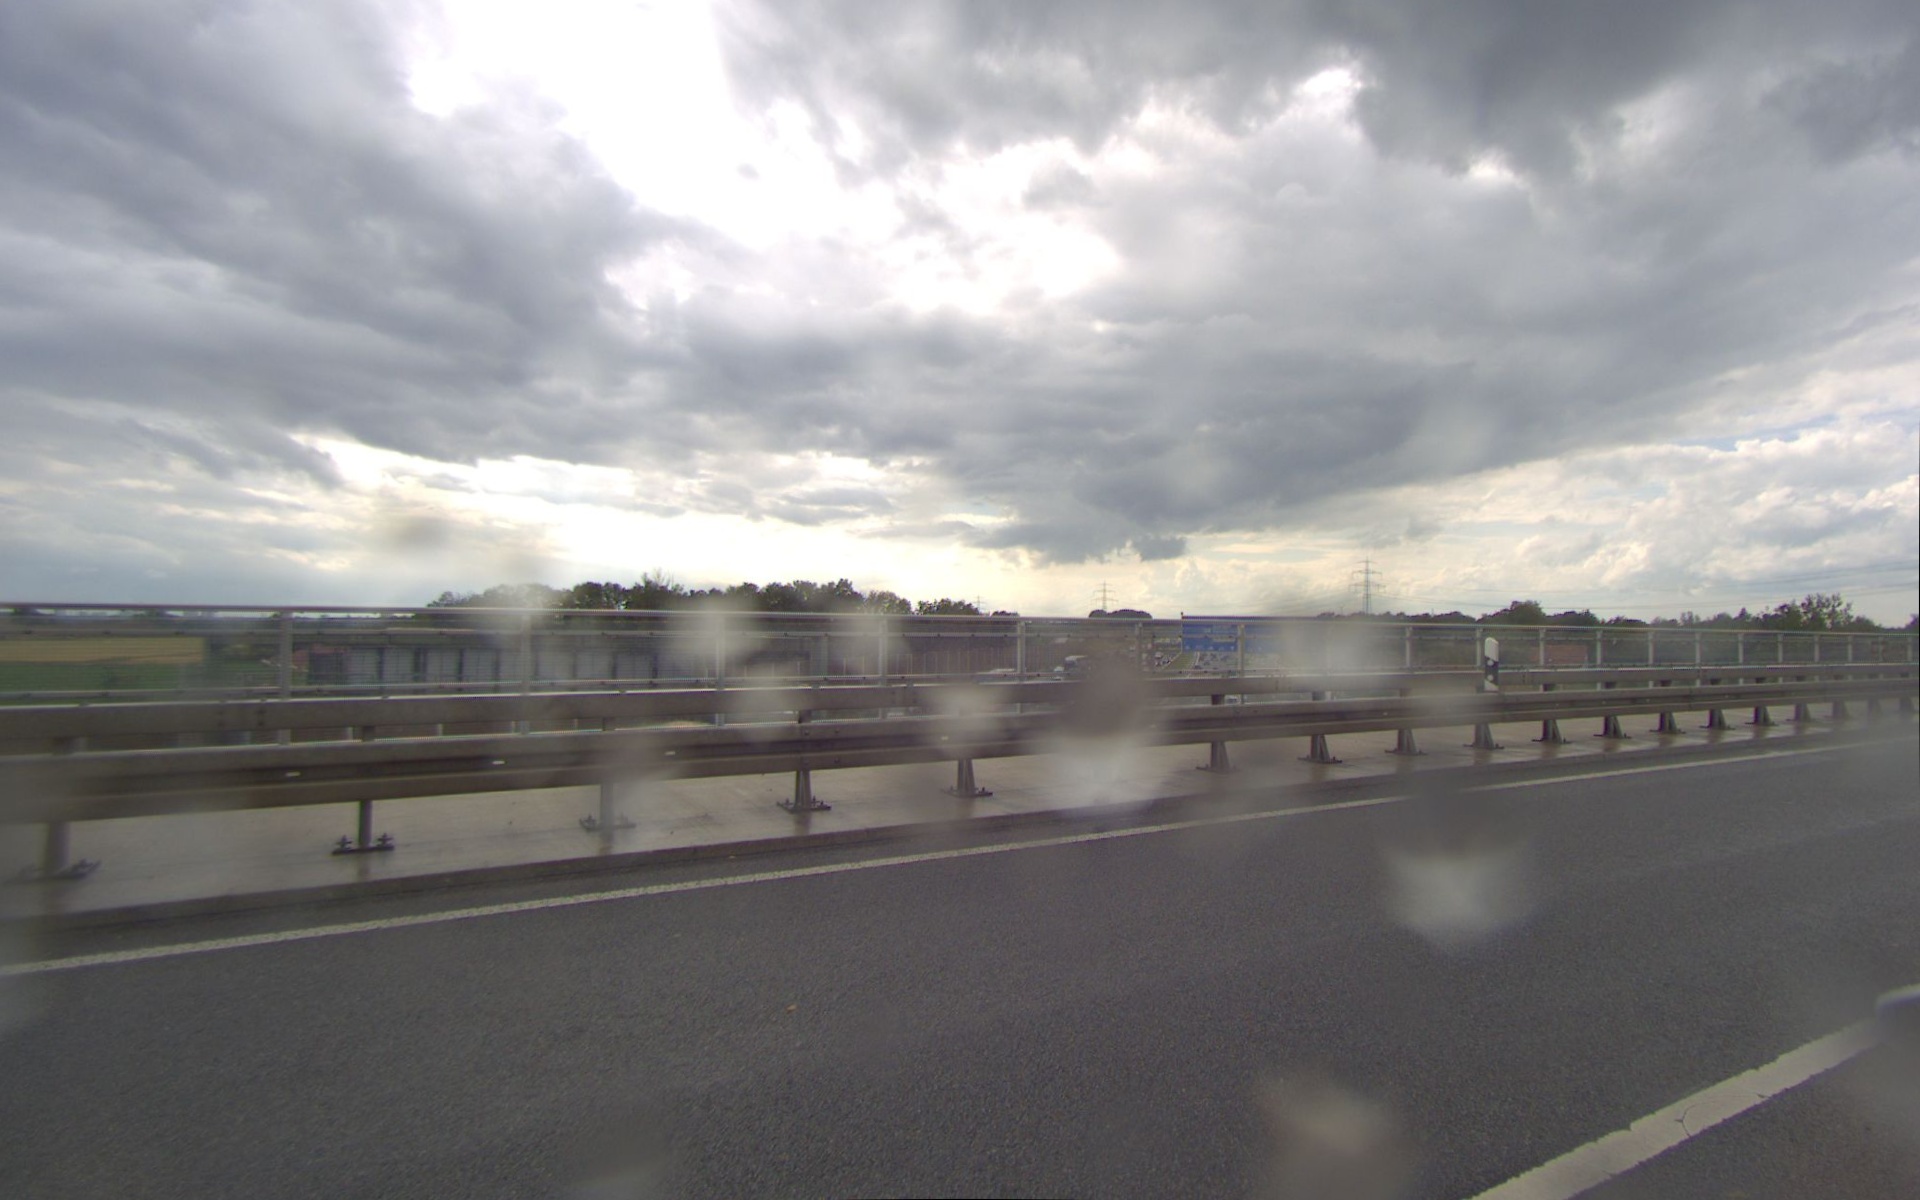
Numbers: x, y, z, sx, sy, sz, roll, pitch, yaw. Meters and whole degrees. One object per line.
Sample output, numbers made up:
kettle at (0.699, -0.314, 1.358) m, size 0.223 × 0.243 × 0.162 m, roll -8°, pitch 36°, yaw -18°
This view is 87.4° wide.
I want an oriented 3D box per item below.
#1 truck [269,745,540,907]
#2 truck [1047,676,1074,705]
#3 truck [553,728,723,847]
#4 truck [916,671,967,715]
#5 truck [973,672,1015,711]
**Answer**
truck at (-21.914, 8.725, 40.840) m, size 2.388 × 4.055 × 11.174 m, roll 1°, pitch 0°, yaw 16°
truck at (16.711, 14.937, 165.993) m, size 2.388 × 3.812 × 11.174 m, roll 1°, pitch 0°, yaw 16°
truck at (-16.167, 9.302, 51.737) m, size 2.388 × 4.055 × 11.174 m, roll 1°, pitch 0°, yaw 16°
truck at (-1.973, 10.309, 112.684) m, size 2.388 × 3.812 × 11.174 m, roll 1°, pitch 0°, yaw 16°
truck at (4.224, 11.086, 122.830) m, size 2.388 × 3.812 × 11.174 m, roll 1°, pitch 0°, yaw 16°
